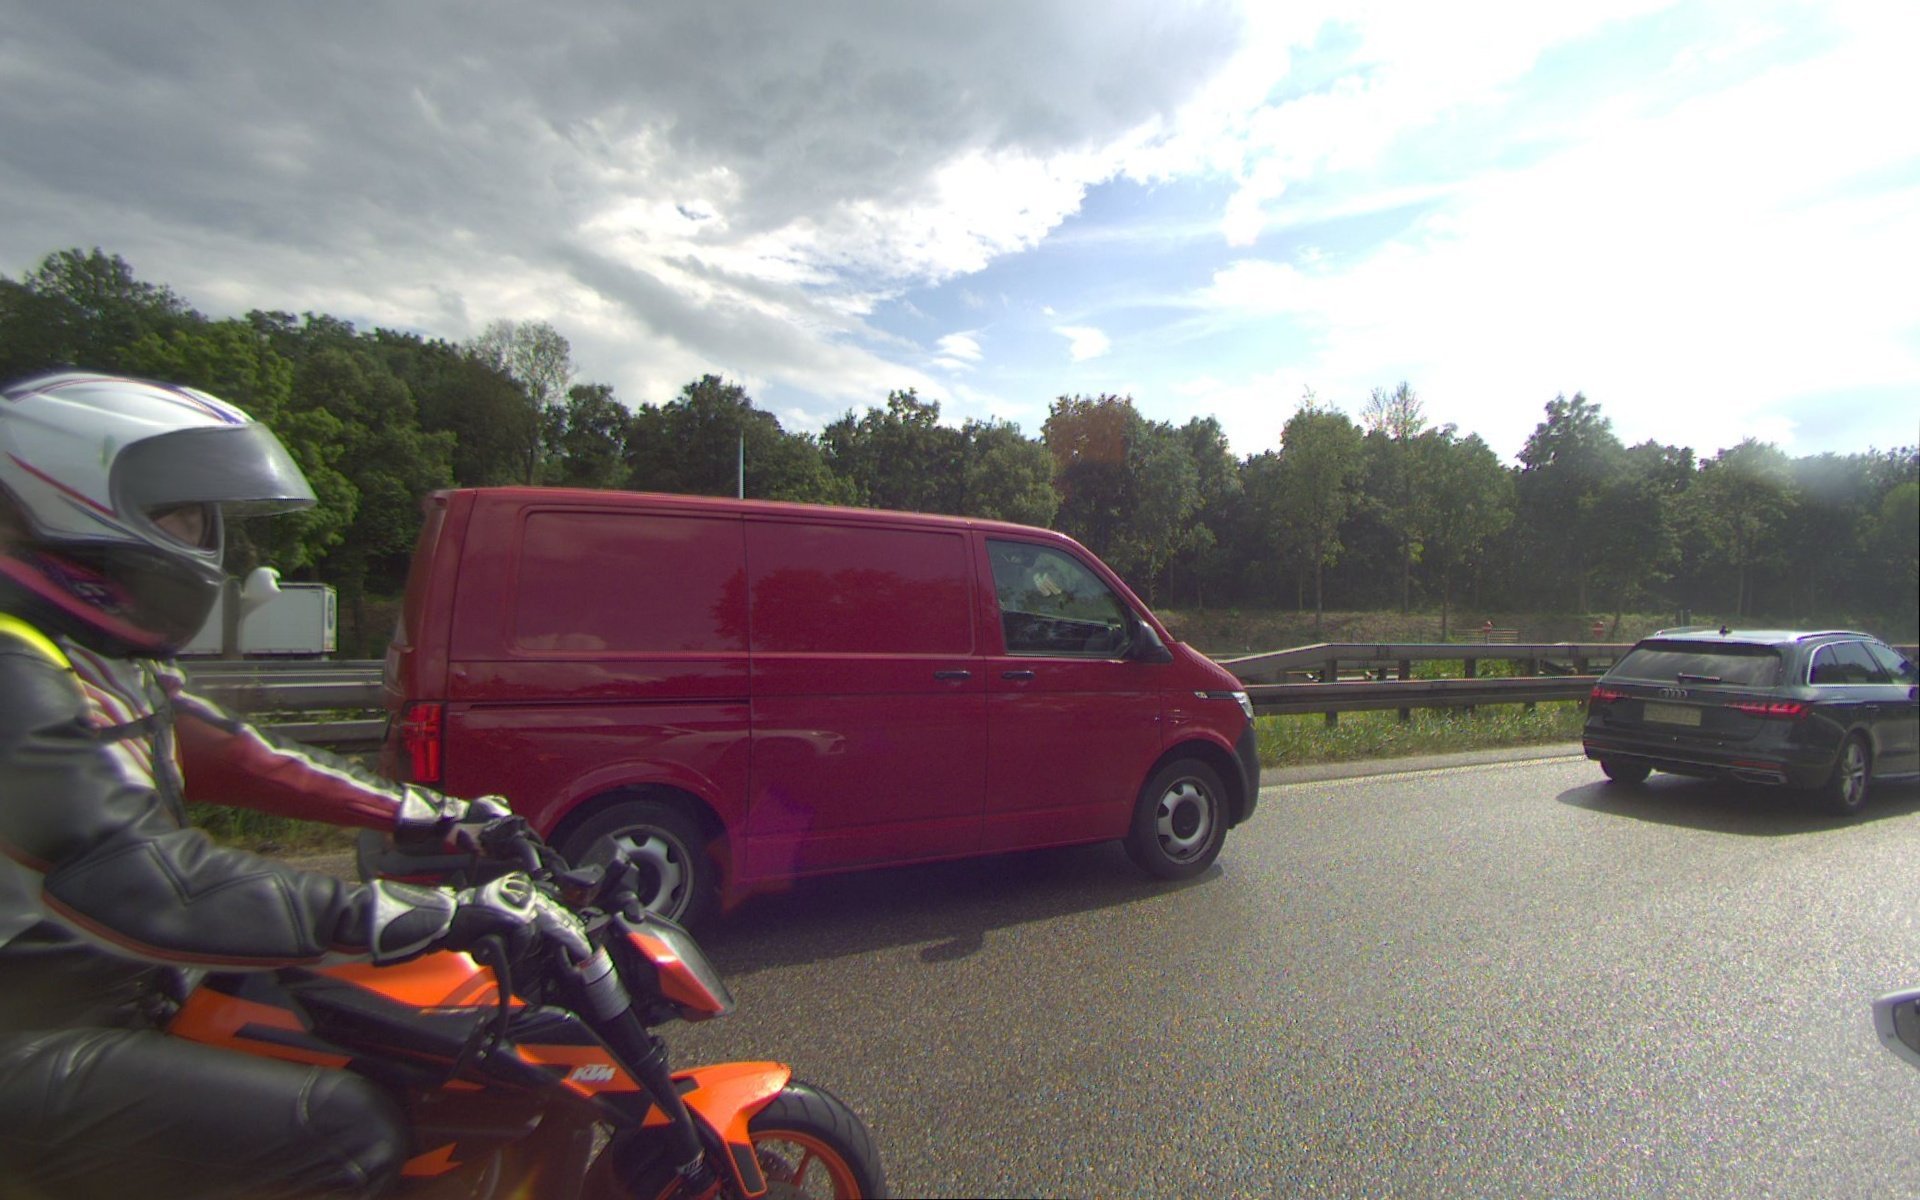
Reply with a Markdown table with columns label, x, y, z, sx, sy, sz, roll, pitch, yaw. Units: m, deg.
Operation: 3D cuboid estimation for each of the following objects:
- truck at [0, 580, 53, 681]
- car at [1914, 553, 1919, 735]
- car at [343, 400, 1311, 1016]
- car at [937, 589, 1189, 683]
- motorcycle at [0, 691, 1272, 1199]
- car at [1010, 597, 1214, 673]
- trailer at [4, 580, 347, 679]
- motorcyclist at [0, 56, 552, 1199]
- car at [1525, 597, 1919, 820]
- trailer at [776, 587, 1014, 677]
| label | x | y | z | sx | sy | sz | roll | pitch | yaw |
| --- | --- | --- | --- | --- | --- | --- | --- | --- | --- |
| truck | -39.179 | 1.036 | 37.741 | 6.616 | 3.709 | 3.776 | 2 | 0 | -26 |
| car | 15.468 | 0.559 | 13.829 | 5.198 | 2.650 | 1.984 | 2 | 0 | -30 |
| car | -0.516 | 0.424 | 5.447 | 4.701 | 2.082 | 1.969 | 2 | 0 | -30 |
| car | 2.258 | 0.752 | 21.442 | 5.151 | 1.799 | 2.040 | 2 | 0 | -32 |
| motorcycle | -1.132 | 0.819 | 1.236 | 3.162 | 1.242 | 1.177 | 2 | 0 | -35 |
| car | 4.024 | 0.922 | 26.272 | 5.151 | 1.799 | 2.040 | 2 | 0 | -32 |
| trailer | -31.562 | 1.244 | 41.267 | 10.350 | 3.697 | 3.780 | 1 | -1 | -24 |
| motorcyclist | -1.160 | 0.354 | 1.295 | 0.990 | 1.729 | 0.876 | 2 | 0 | -33 |
| car | 7.547 | 0.843 | 9.245 | 4.701 | 1.585 | 1.984 | 2 | 0 | -30 |
| trailer | -3.333 | 1.641 | 51.427 | 11.538 | 4.171 | 3.786 | 2 | 0 | -18 |
